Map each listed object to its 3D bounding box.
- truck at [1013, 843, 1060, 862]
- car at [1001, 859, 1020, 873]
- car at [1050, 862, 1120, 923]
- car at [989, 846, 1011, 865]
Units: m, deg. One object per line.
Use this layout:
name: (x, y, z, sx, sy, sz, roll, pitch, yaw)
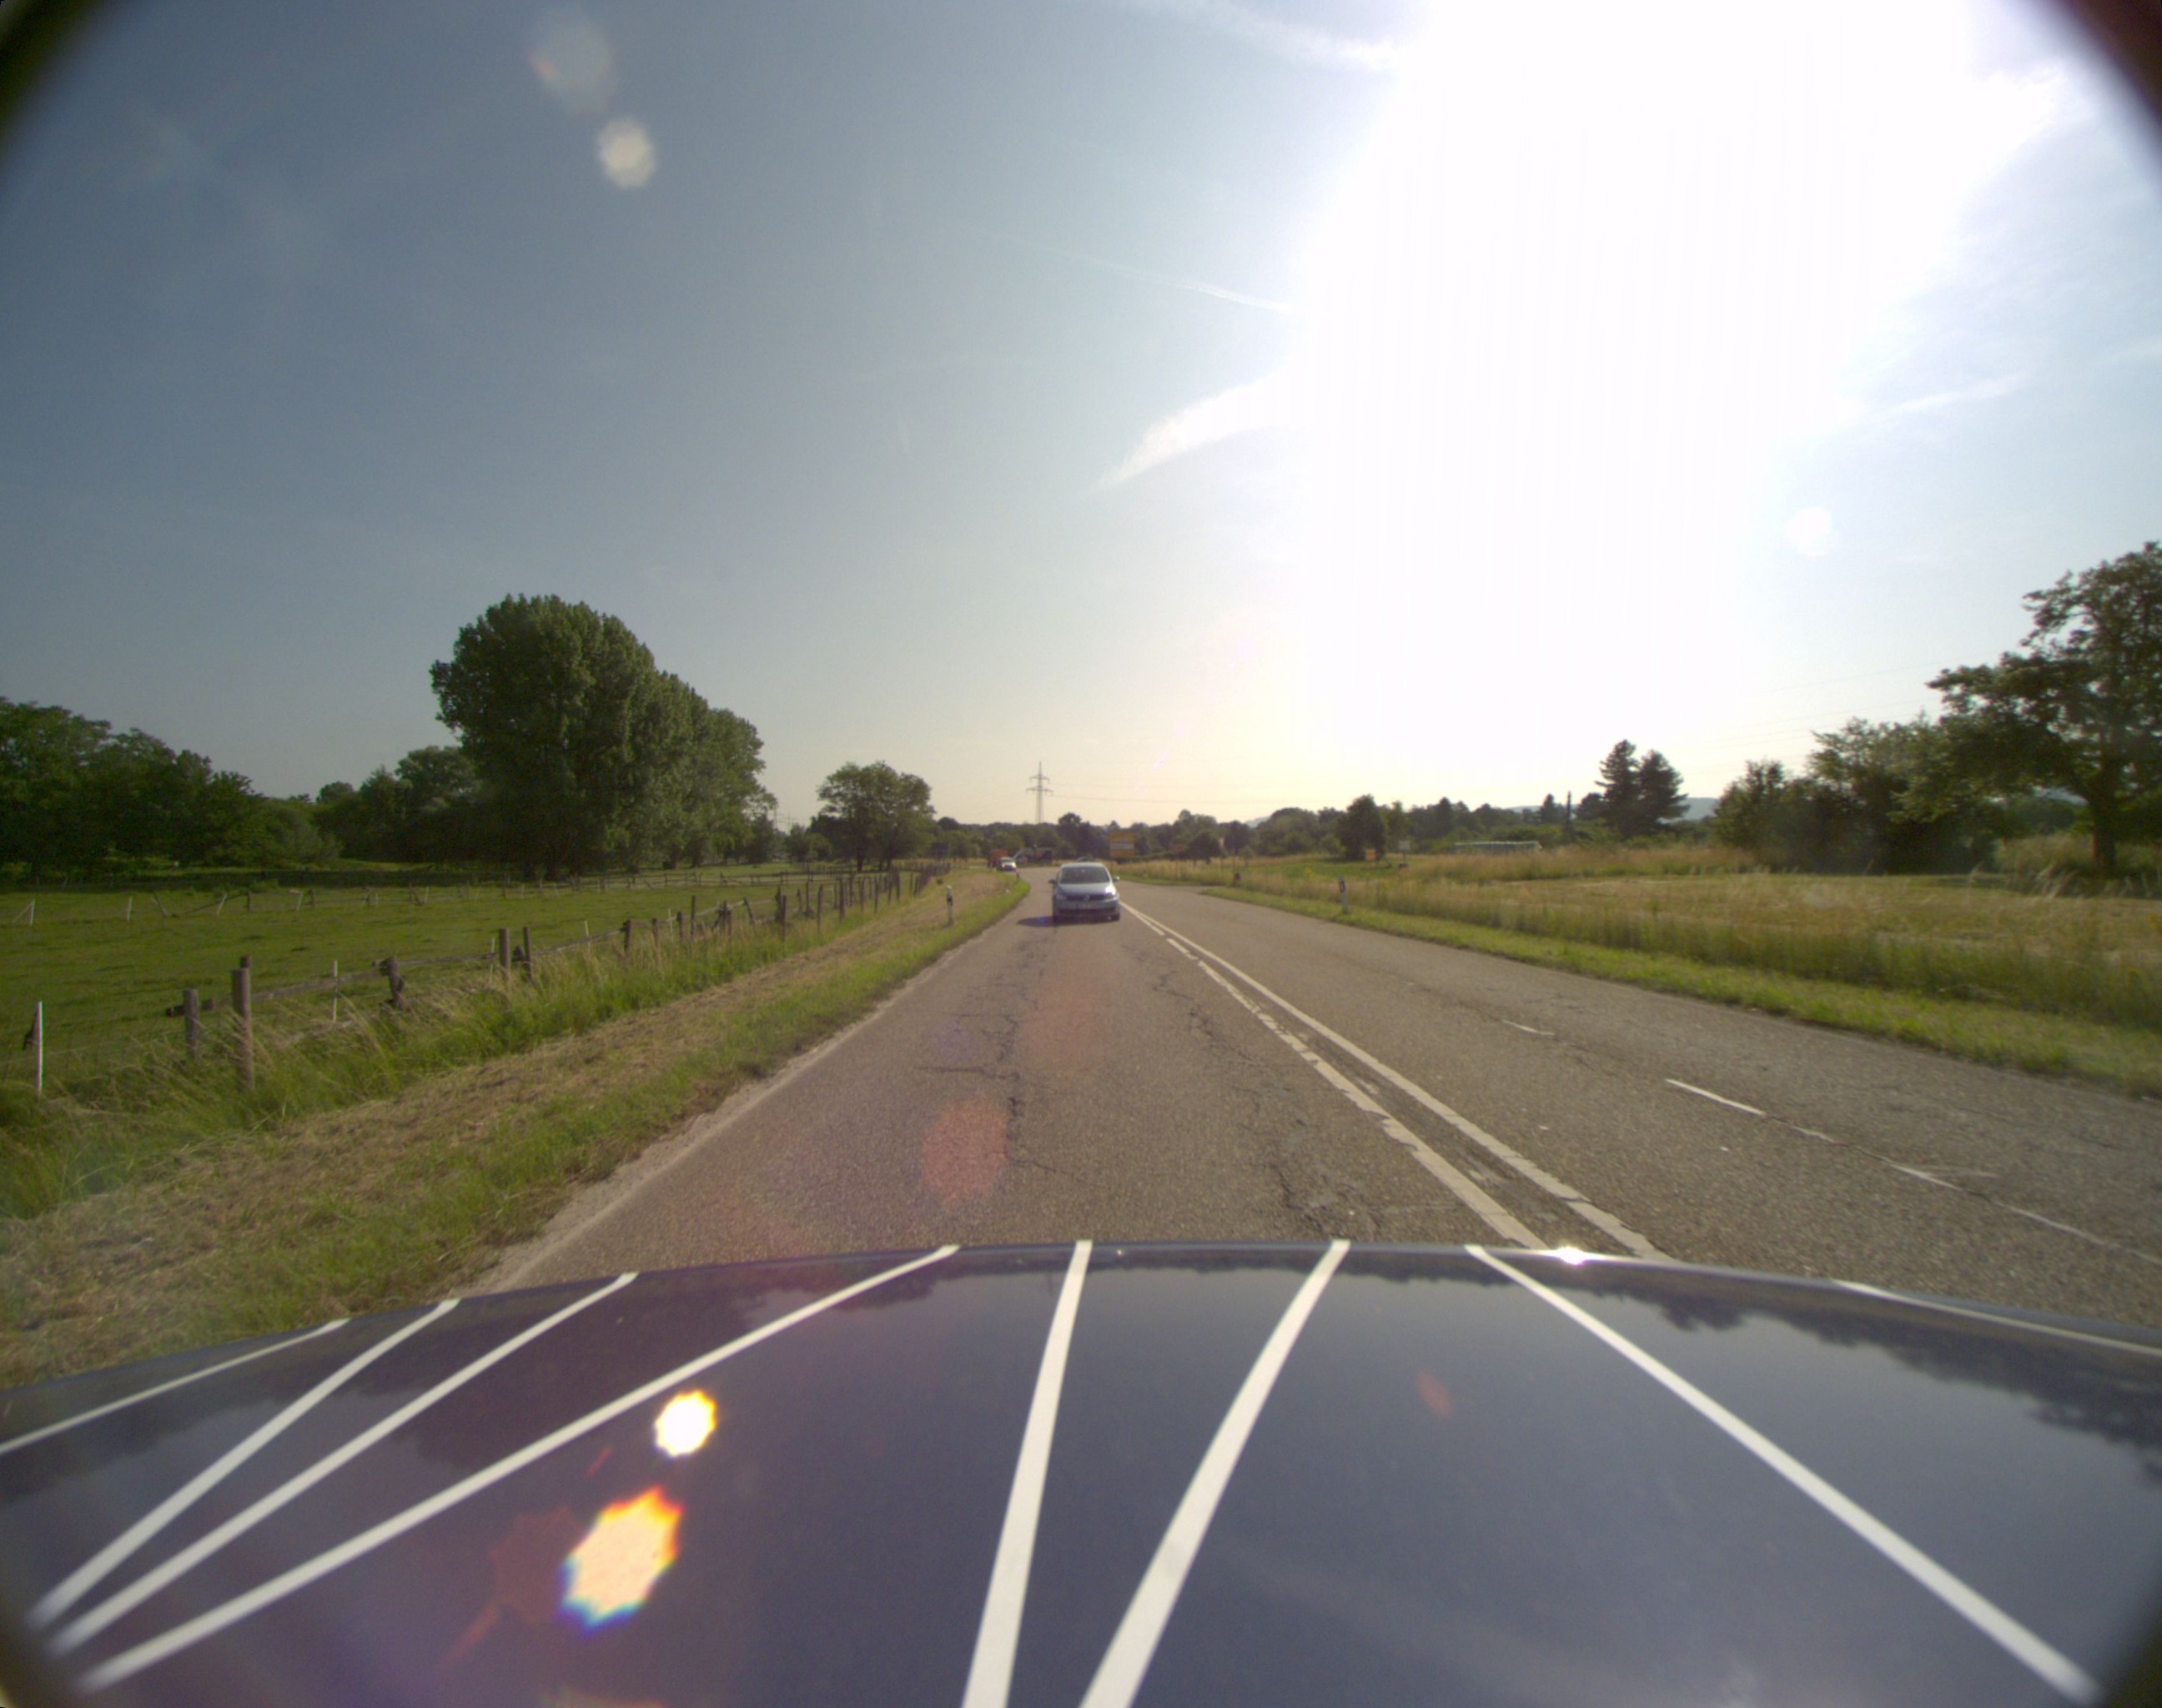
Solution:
truck: (-7.299, -0.238, 124.193, 7.367, 3.028, 2.581, -1, 0, -12)
car: (-8.072, 1.335, 86.709, 2.000, 1.570, 3.906, -1, 0, -9)
car: (0.032, 1.056, 22.417, 1.718, 1.496, 4.092, -1, 1, -4)
car: (-11.708, 0.265, 109.676, 2.132, 2.680, 5.260, -1, 0, -18)
